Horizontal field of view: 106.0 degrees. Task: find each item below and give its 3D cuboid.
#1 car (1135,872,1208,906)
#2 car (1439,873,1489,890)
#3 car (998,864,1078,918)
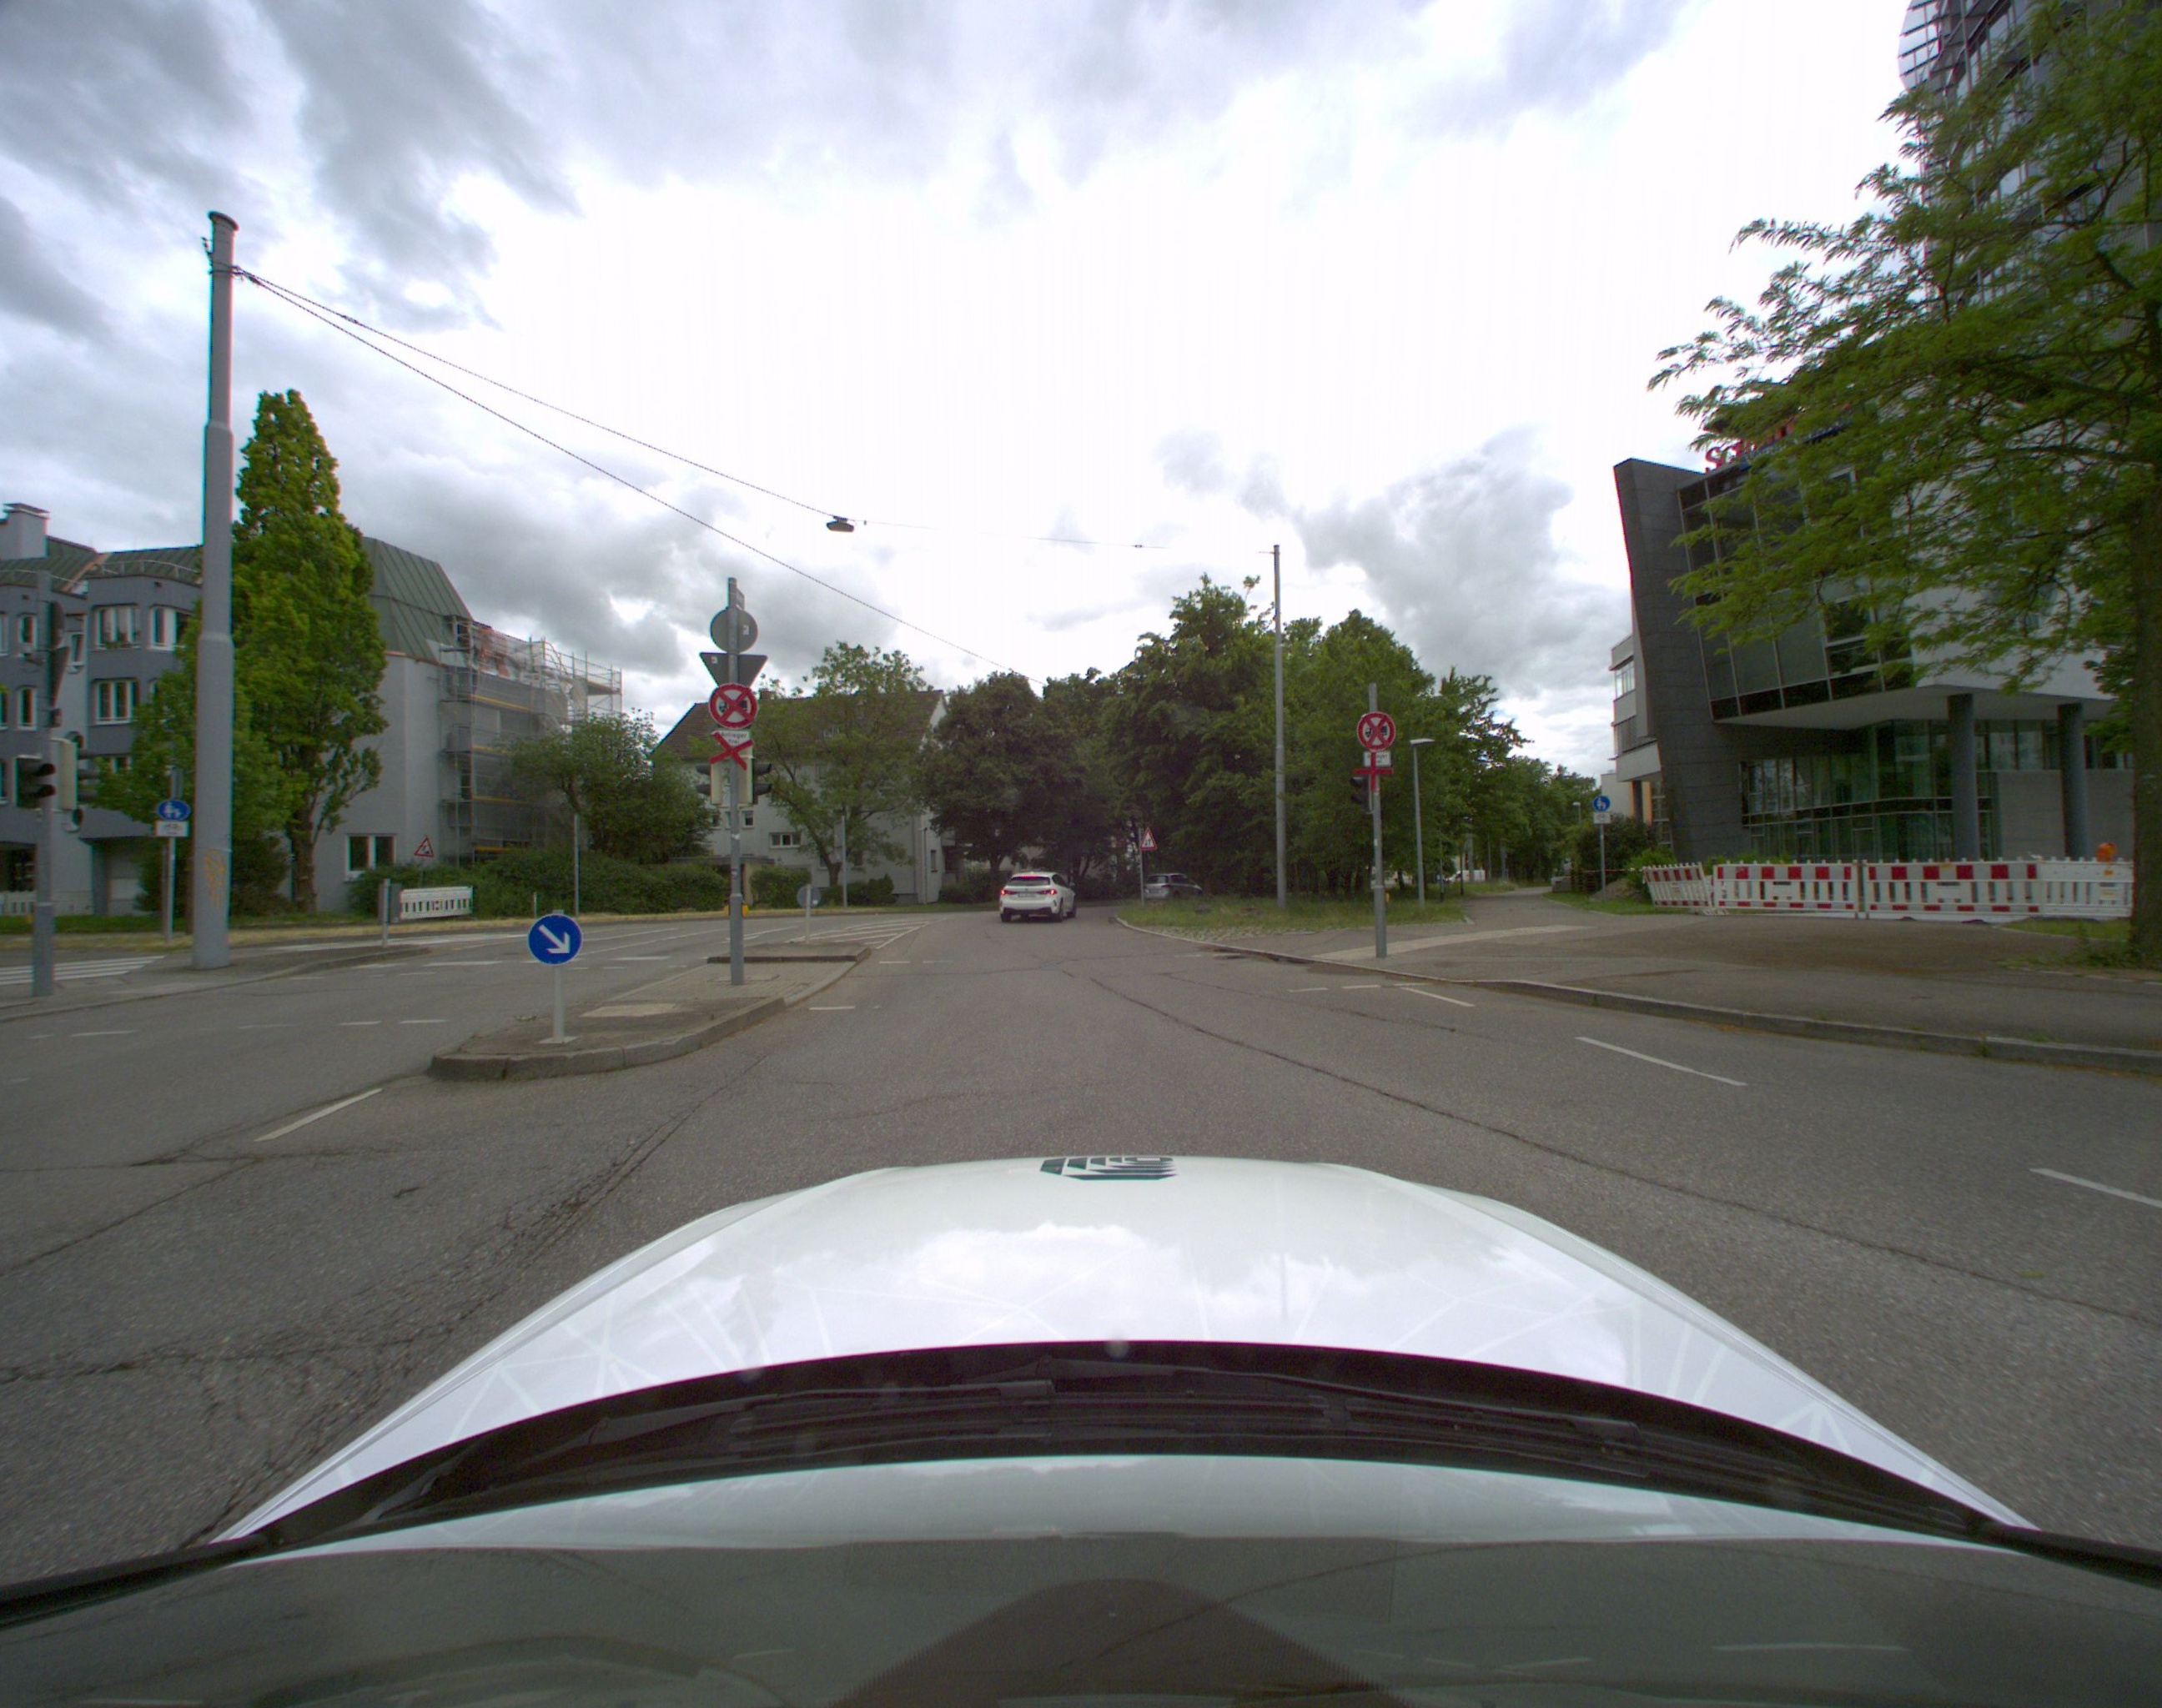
[{"bbox_3d":[4.570,1.729,40.580,1.904,1.574,4.025,-3,-3,34],"label":"car"},{"bbox_3d":[59.916,4.275,127.464,6.927,2.522,2.087,0,-1,3],"label":"car"},{"bbox_3d":[-1.235,1.172,25.196,1.786,1.518,4.213,-1,-3,6],"label":"car"}]
